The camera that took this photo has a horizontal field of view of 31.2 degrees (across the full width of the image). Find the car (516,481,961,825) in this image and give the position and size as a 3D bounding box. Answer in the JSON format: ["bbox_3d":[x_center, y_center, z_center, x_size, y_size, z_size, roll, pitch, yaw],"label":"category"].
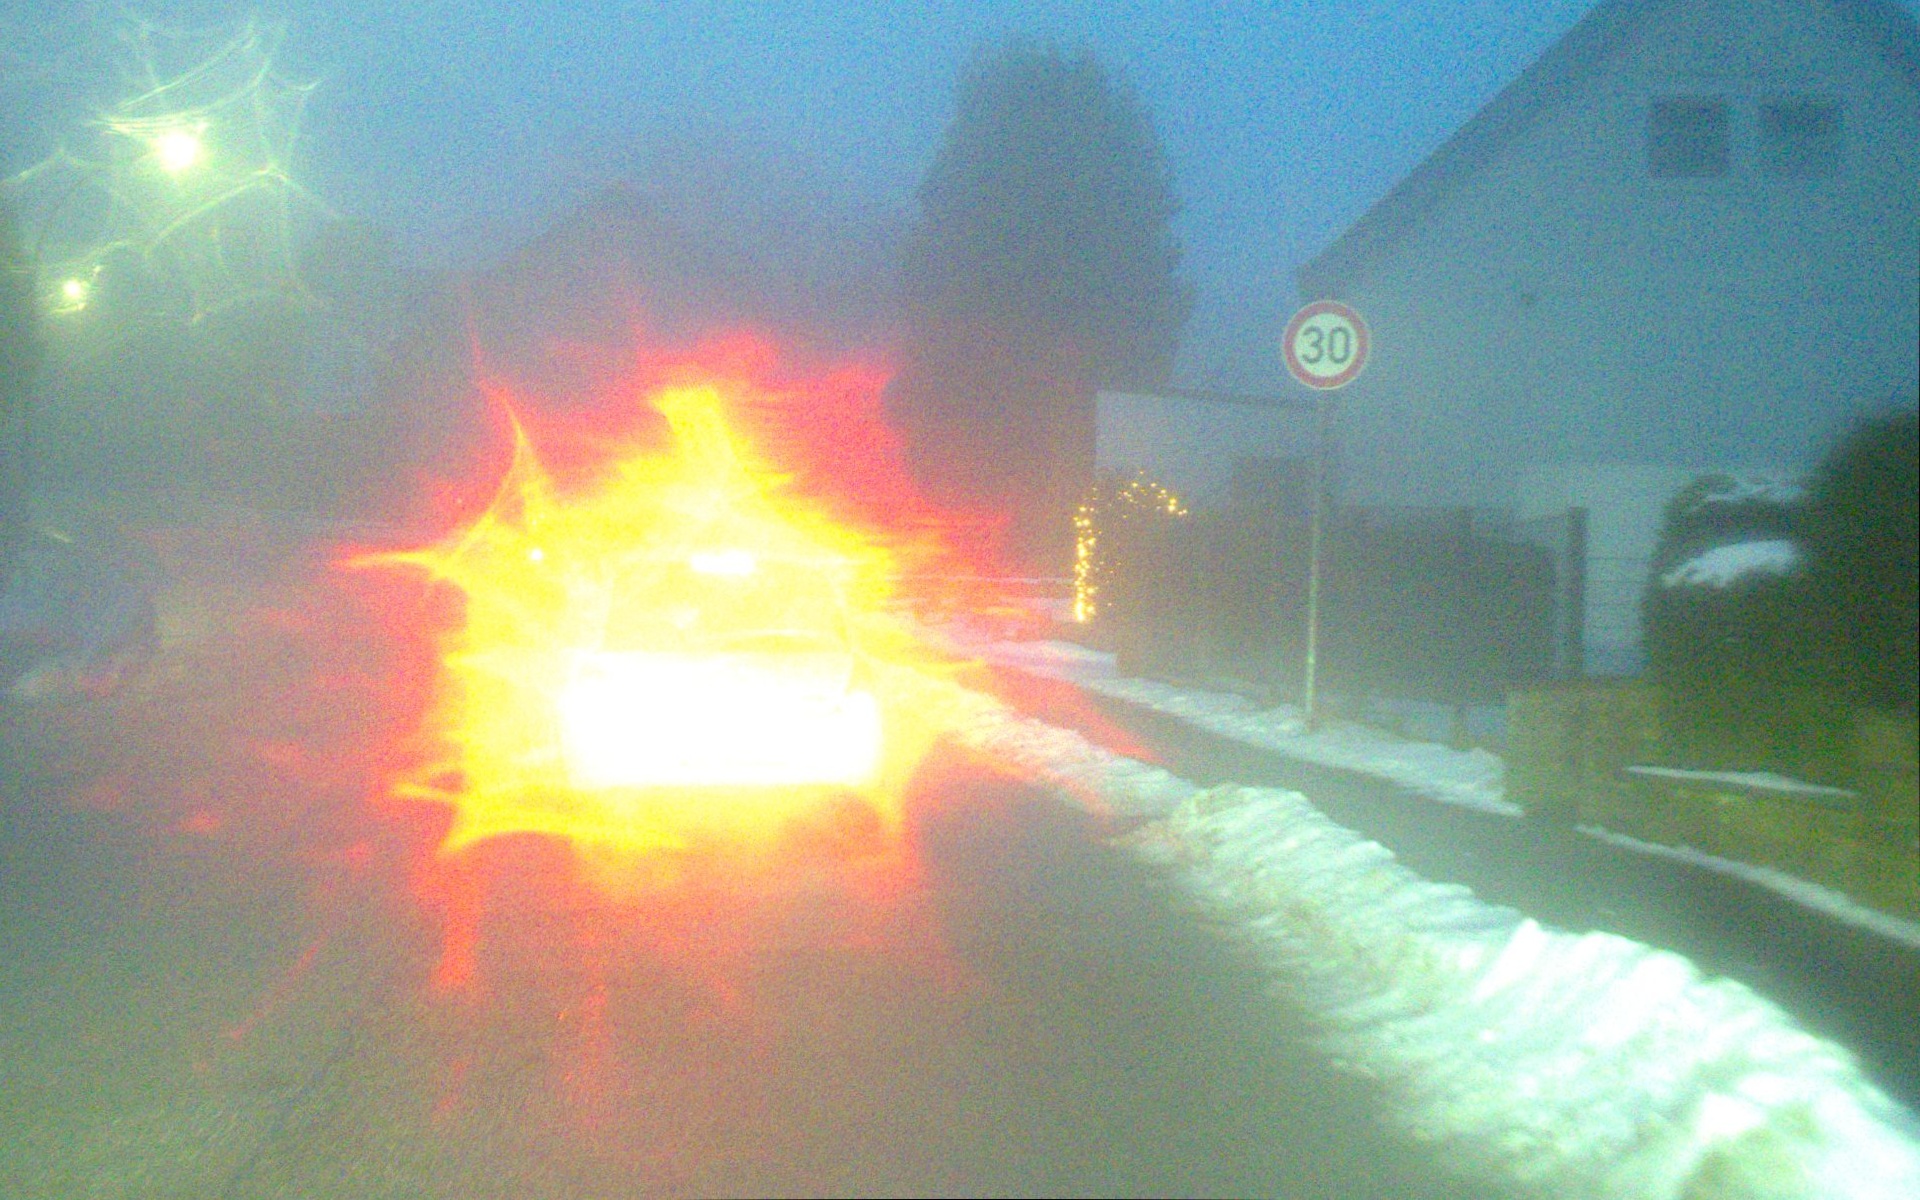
[{"bbox_3d":[-1.284,0.258,18.142,1.897,1.604,4.001,0,0,-10],"label":"car"}]

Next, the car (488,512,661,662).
[{"bbox_3d":[-4.672,-0.137,41.795,1.993,1.731,3.879,0,0,-6],"label":"car"}]
